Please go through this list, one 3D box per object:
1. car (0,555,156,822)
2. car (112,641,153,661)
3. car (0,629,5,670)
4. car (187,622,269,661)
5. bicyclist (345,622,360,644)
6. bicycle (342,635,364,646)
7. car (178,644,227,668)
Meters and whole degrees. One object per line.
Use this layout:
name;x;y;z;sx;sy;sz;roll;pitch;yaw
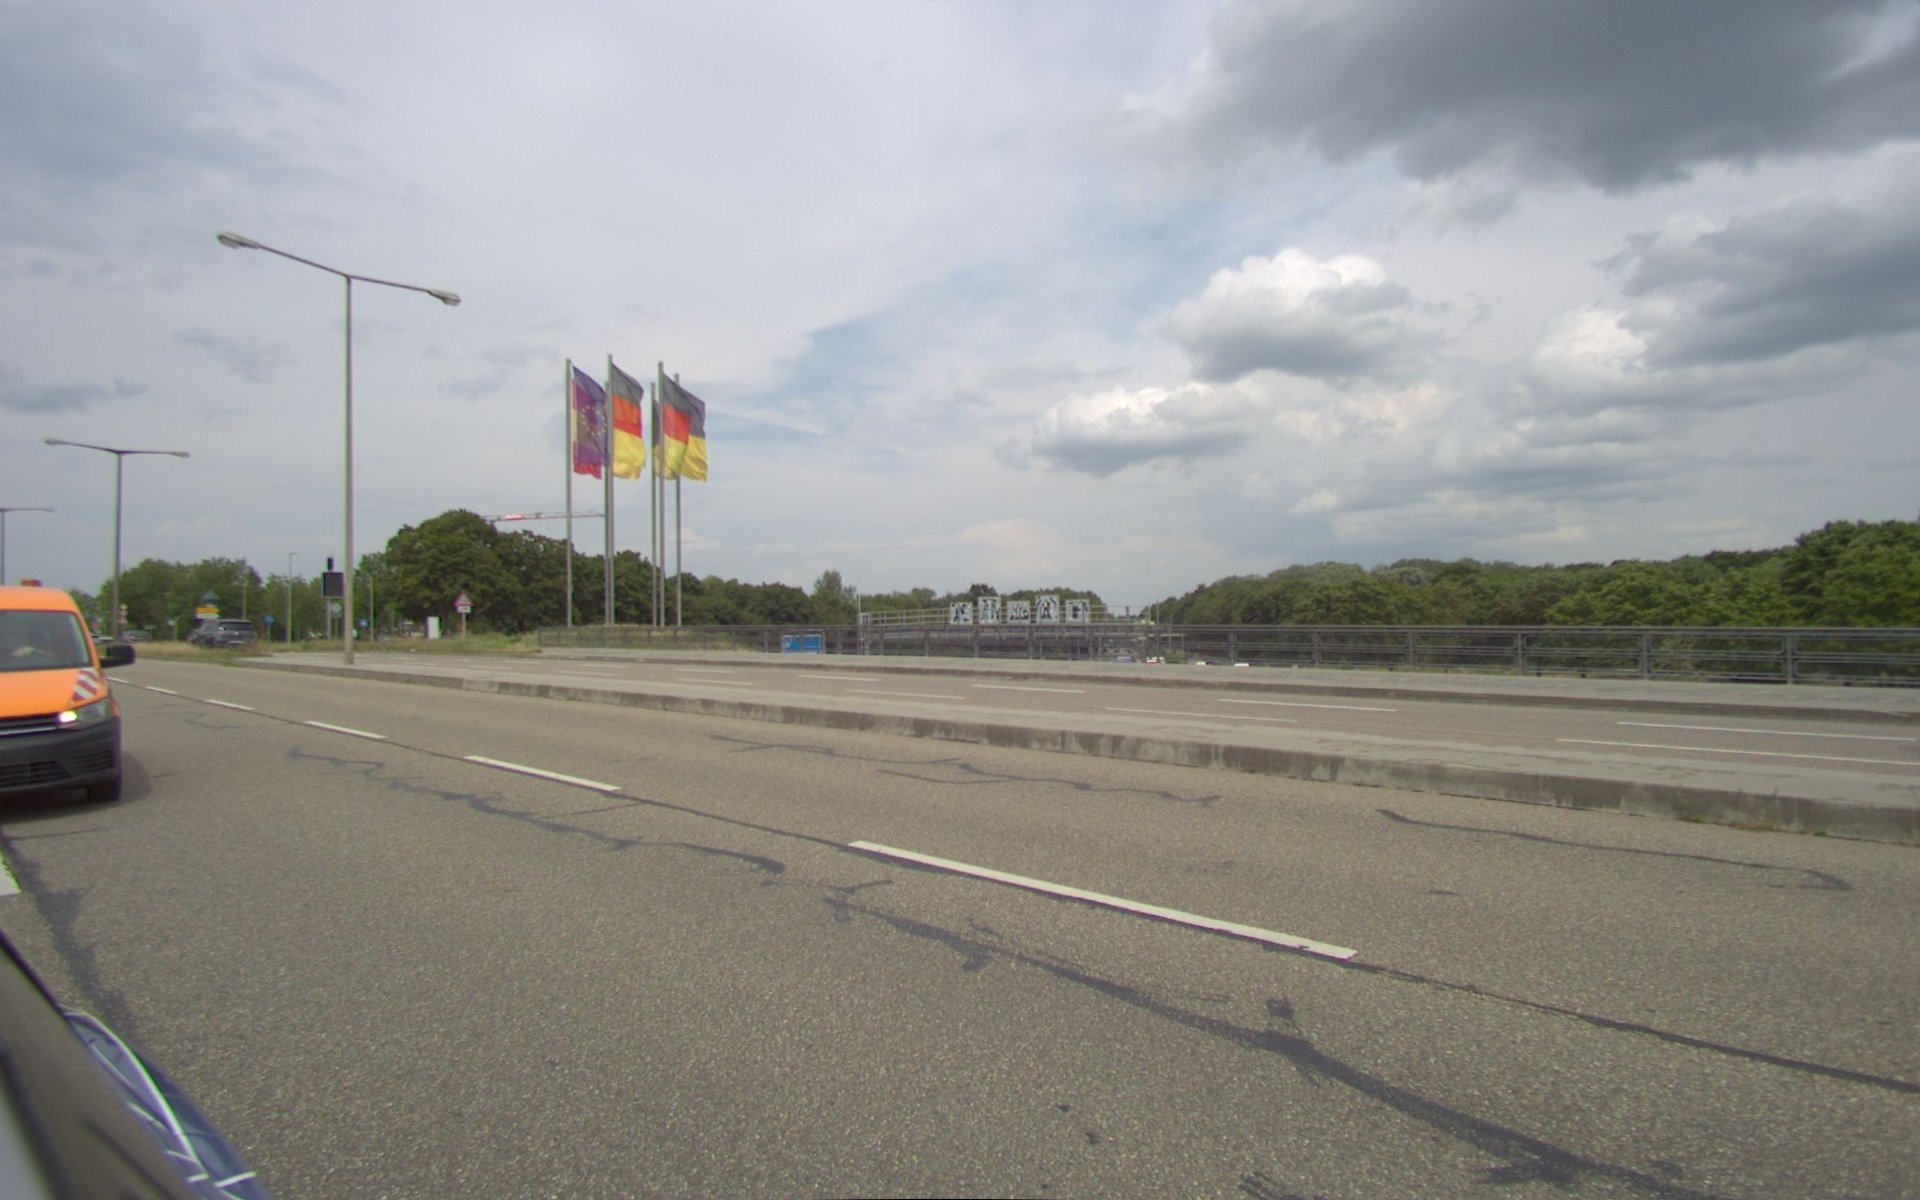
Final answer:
car;-8.370;0.679;8.409;4.428;1.849;1.868;-2;-1;41
car;-63.034;3.873;77.092;3.996;1.505;1.674;-2;-4;40
car;-34.898;1.766;35.443;3.680;1.422;1.674;-2;-1;39
car;-32.803;1.865;45.291;4.660;1.652;1.972;-2;-4;41
bicyclist;-44.758;2.448;74.555;0.736;1.604;0.809;-2;-2;42
bicycle;-44.751;2.973;74.560;2.221;0.739;0.809;-2;-2;42
car;-48.723;3.603;65.085;3.996;1.505;1.674;-2;-4;40
